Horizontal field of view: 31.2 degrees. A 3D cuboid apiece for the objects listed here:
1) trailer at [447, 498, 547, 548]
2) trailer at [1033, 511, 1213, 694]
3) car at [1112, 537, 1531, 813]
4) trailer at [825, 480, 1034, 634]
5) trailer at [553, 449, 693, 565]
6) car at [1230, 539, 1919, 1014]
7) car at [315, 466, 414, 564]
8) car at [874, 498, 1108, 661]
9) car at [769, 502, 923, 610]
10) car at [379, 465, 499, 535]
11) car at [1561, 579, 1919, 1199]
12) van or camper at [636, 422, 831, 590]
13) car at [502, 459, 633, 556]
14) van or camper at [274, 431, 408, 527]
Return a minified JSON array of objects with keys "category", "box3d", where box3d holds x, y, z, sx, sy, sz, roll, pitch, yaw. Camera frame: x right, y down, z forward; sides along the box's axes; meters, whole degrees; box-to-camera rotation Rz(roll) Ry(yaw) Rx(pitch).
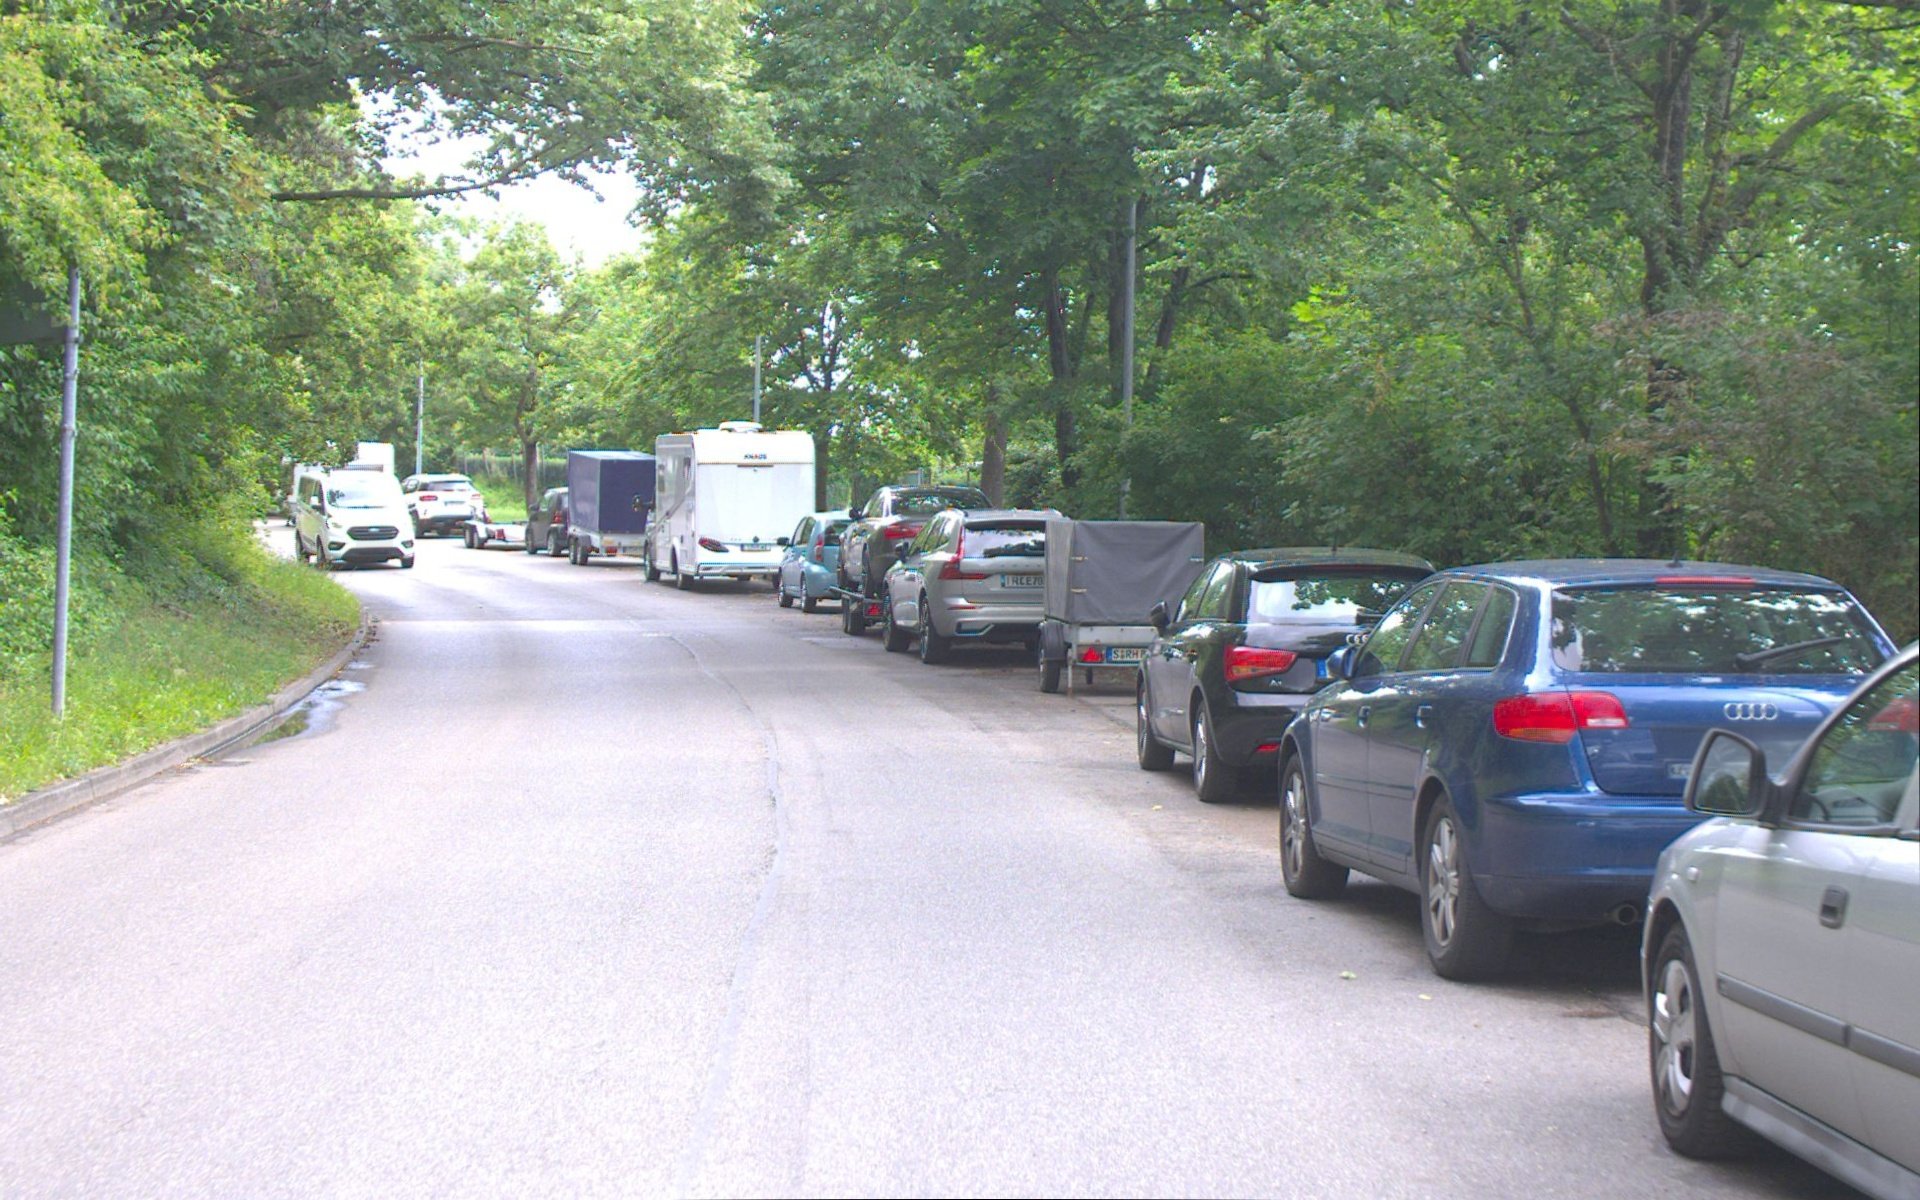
[{"category":"trailer","box3d":[-11.160,-1.866,82.669,1.651,1.083,4.002,-2,3,-18]},{"category":"trailer","box3d":[1.457,-0.008,31.425,1.278,1.579,2.461,1,1,-5]},{"category":"car","box3d":[2.055,0.377,20.627,1.720,1.448,3.918,1,1,-5]},{"category":"trailer","box3d":[-0.462,-0.607,43.893,1.978,1.805,5.150,0,2,-8]},{"category":"trailer","box3d":[-7.272,-2.008,73.826,1.993,2.390,4.001,0,2,-20]},{"category":"car","box3d":[2.377,0.537,13.236,1.847,1.469,4.480,1,1,-6]},{"category":"car","box3d":[-12.682,-1.833,73.427,1.947,1.977,4.503,1,2,-9]},{"category":"car","box3d":[0.271,-0.221,37.780,1.791,1.664,4.503,1,0,-10]},{"category":"car","box3d":[-1.800,-0.706,53.180,1.799,1.556,3.837,0,2,-11]},{"category":"car","box3d":[-13.896,-2.680,91.568,2.034,1.797,4.084,0,3,-26]},{"category":"car","box3d":[2.645,0.746,7.291,1.812,1.432,4.243,2,1,-2]},{"category":"van or camper","box3d":[-4.262,-1.733,63.269,2.481,2.866,6.892,1,2,-13]},{"category":"car","box3d":[-9.046,-2.159,79.040,1.993,2.018,4.002,-2,4,-21]},{"category":"van or camper","box3d":[-17.916,-3.529,99.312,2.526,2.688,4.576,-1,3,-28]}]
